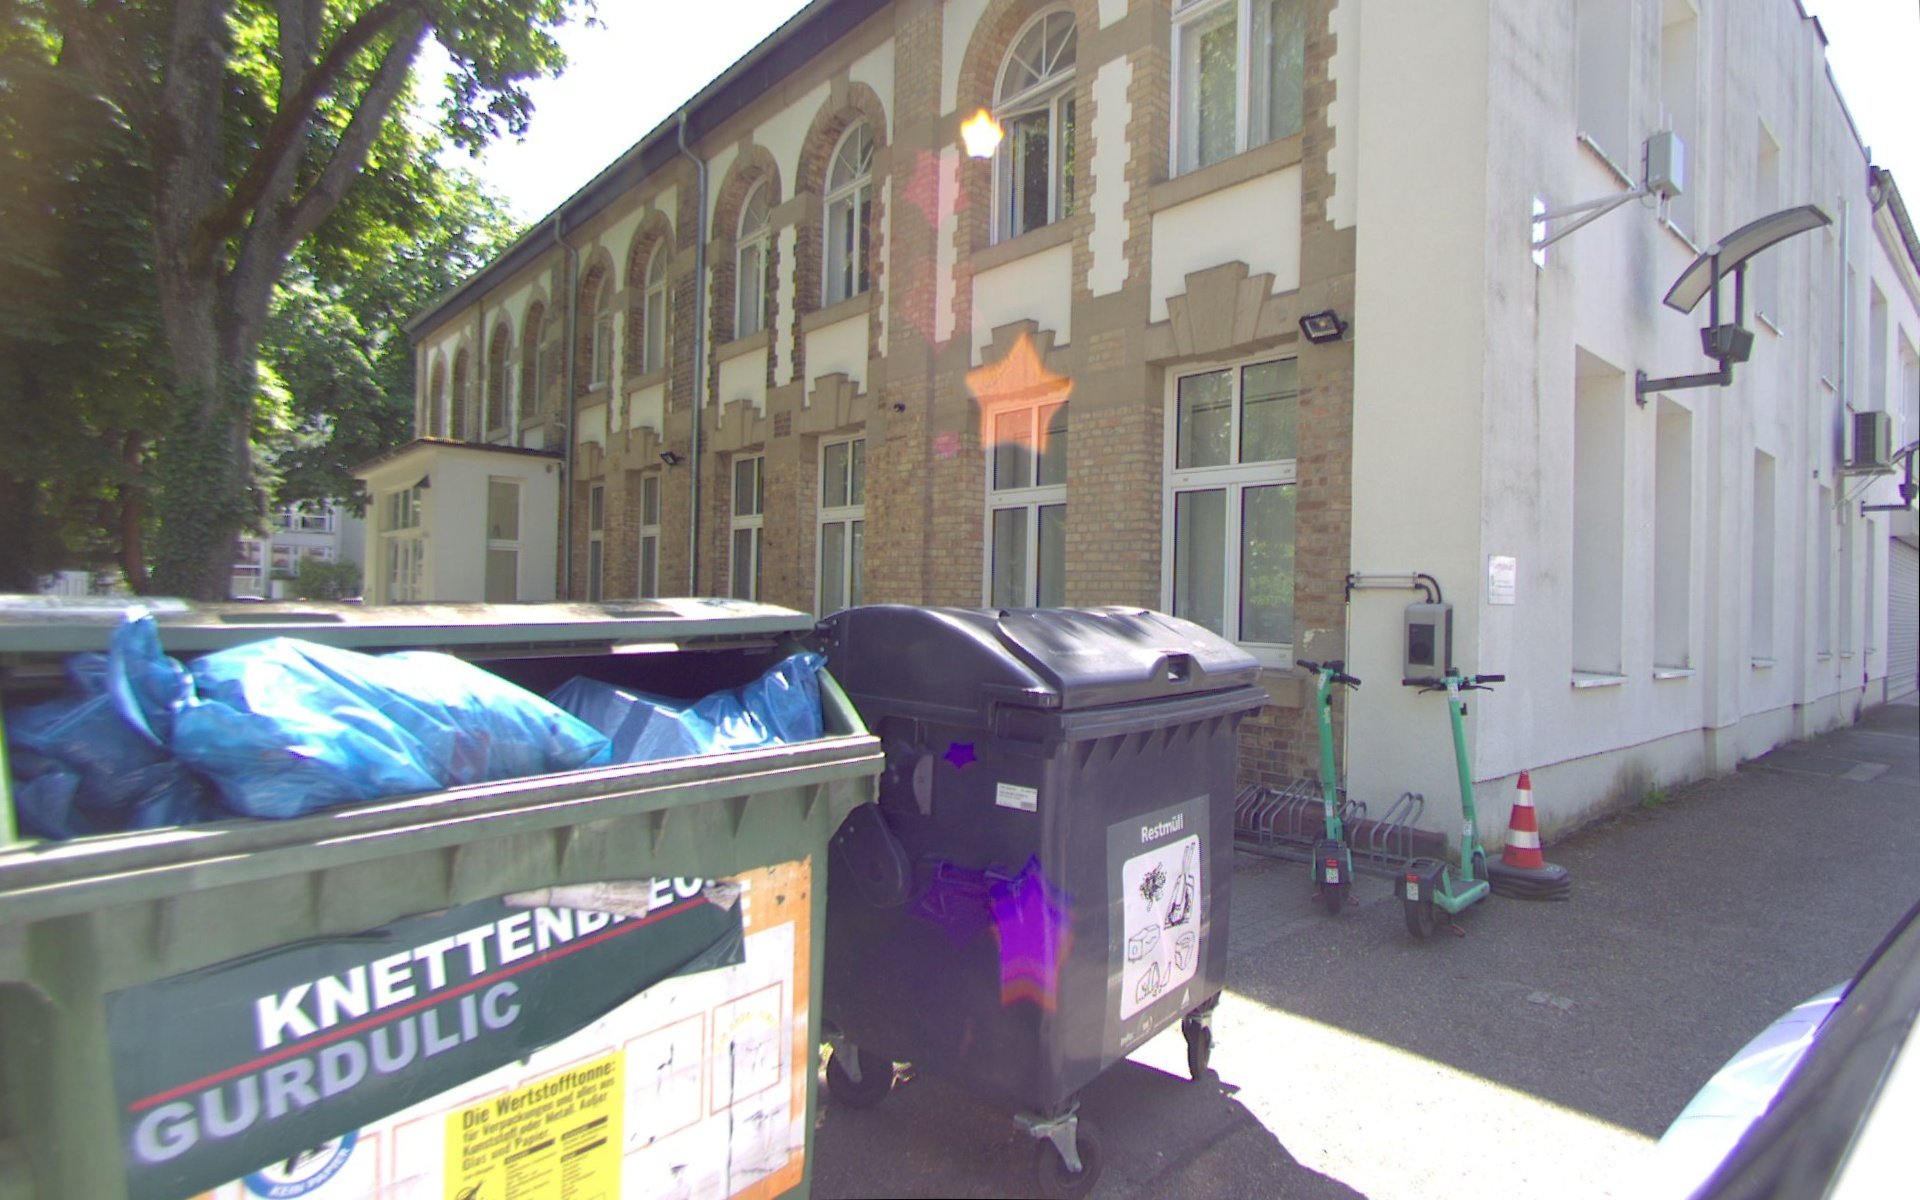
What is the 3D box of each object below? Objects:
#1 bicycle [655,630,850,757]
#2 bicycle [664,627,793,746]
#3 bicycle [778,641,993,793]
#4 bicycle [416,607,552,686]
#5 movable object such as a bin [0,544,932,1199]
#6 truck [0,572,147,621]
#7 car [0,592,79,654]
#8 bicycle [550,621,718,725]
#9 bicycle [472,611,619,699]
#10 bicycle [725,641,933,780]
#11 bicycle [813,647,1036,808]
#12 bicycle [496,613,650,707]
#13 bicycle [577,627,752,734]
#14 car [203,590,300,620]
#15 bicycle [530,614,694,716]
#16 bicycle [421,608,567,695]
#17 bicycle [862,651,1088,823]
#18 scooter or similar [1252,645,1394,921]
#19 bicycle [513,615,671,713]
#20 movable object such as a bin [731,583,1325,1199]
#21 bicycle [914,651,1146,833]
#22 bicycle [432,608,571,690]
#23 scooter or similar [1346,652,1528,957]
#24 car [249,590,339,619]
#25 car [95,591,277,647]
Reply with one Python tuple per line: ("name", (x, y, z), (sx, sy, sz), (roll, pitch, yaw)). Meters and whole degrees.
("bicycle", (-1.971, 0.860, 9.819), (1.803, 1.117, 0.522), (2, -1, -41))
("bicycle", (-2.407, 0.862, 10.746), (0.466, 1.117, 1.825), (1, -1, 17))
("bicycle", (-0.572, 0.903, 8.326), (1.803, 1.081, 0.504), (1, 0, -41))
("bicycle", (-7.370, 0.691, 15.726), (1.809, 1.157, 0.589), (1, 0, -41))
("movable object such as a bin", (-0.912, 0.685, 1.757), (1.178, 1.488, 1.291), (0, 0, 42))
("truck", (-34.723, -0.152, 39.372), (4.549, 1.856, 1.658), (0, 0, -27))
("car", (-24.135, 0.560, 24.514), (1.685, 1.482, 3.911), (1, 0, 20))
("bicycle", (-3.783, 0.811, 11.845), (1.809, 1.114, 0.522), (1, 0, -41))
("bicycle", (-5.804, 0.742, 14.222), (1.809, 1.157, 0.589), (1, 0, -41))
("bicycle", (-1.106, 0.912, 8.860), (1.803, 1.081, 0.504), (2, -1, -41))
("bicycle", (-0.234, 0.928, 7.868), (1.803, 1.081, 0.504), (1, -1, -41))
("bicycle", (-5.112, 0.760, 13.427), (1.809, 1.157, 0.589), (1, 0, -41))
("bicycle", (-3.260, 0.856, 11.277), (1.803, 1.083, 0.522), (1, 0, -41))
("car", (-31.854, 0.213, 45.603), (3.270, 1.307, 1.501), (0, 0, -16))
("bicycle", (-4.257, 0.762, 12.468), (1.809, 1.157, 0.589), (1, 0, -41))
("bicycle", (-6.630, 0.707, 14.455), (1.807, 1.157, 0.589), (1, 0, -36))
("bicycle", (0.158, 0.944, 7.468), (1.803, 1.081, 0.454), (1, -1, -41))
("scooter or similar", (1.920, 0.864, 5.271), (0.461, 1.188, 1.242), (1, 0, 31))
("bicycle", (-4.678, 0.784, 12.946), (1.809, 1.157, 0.589), (1, 0, -41))
("movable object such as a bin", (0.257, 0.719, 3.011), (1.153, 1.524, 1.442), (0, 0, 40))
("bicycle", (0.537, 0.923, 7.067), (1.803, 1.081, 0.454), (1, -1, -41))
("bicycle", (-6.854, 0.710, 15.186), (1.809, 1.157, 0.589), (1, 0, -41))
("scooter or similar", (2.315, 0.877, 4.840), (0.463, 1.188, 1.337), (1, 0, 40))
("car", (-31.861, 0.211, 48.512), (3.271, 1.307, 1.501), (0, 0, -12))
("car", (-22.215, 0.506, 29.229), (1.685, 1.482, 3.911), (1, 0, 20))
